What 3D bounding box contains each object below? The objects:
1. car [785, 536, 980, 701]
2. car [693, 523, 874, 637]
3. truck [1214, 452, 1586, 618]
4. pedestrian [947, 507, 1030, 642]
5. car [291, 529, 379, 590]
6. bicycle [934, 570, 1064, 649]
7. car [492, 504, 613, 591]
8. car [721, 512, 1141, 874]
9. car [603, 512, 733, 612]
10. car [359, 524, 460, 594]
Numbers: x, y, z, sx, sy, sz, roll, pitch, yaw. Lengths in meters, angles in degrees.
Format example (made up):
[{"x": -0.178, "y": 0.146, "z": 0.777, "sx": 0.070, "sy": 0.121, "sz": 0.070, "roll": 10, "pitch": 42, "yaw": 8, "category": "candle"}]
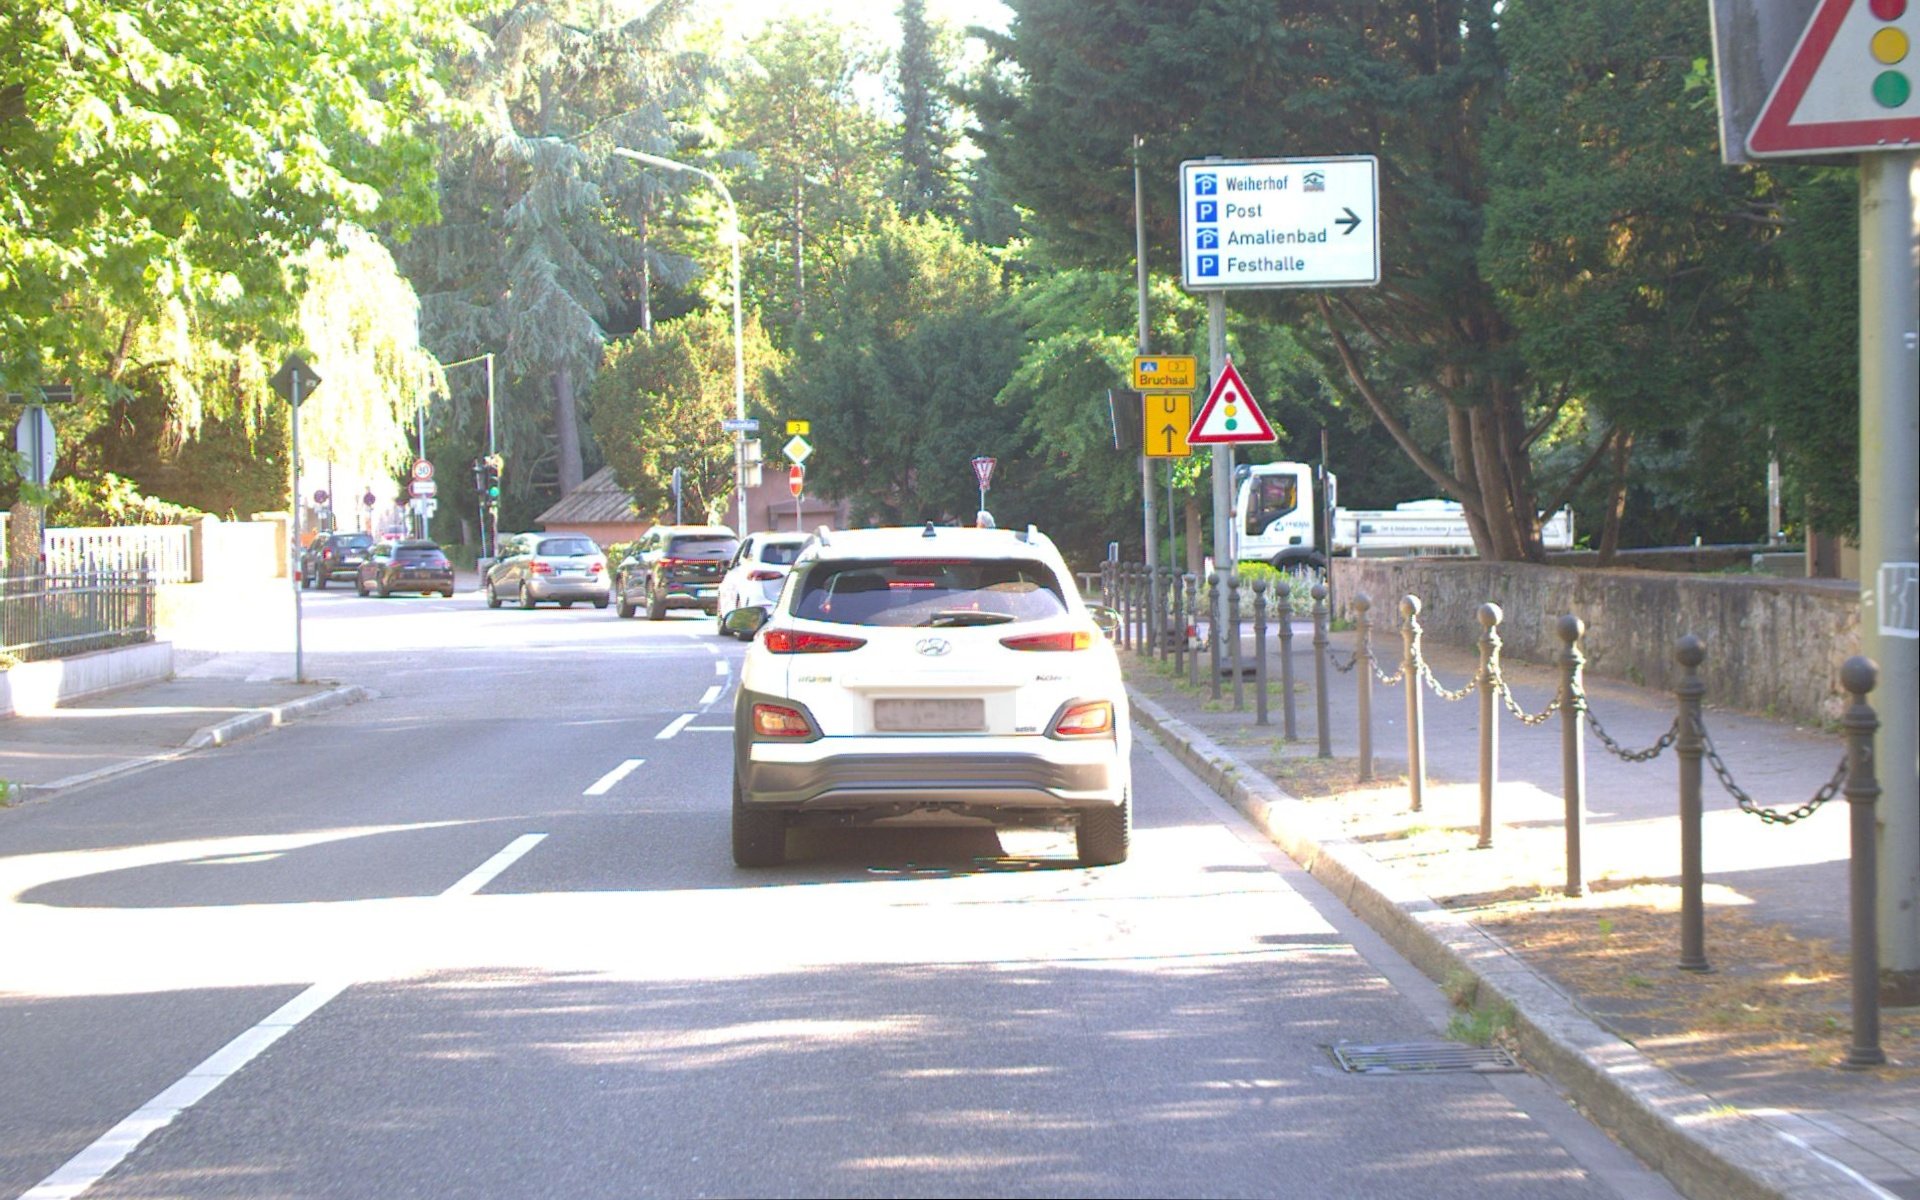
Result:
[{"x": -0.726, "y": 0.124, "z": 32.785, "sx": 1.708, "sy": 1.429, "sz": 4.365, "roll": 1, "pitch": 1, "yaw": -1, "category": "car"}, {"x": -2.549, "y": -0.313, "z": 48.839, "sx": 1.805, "sy": 1.532, "sz": 4.001, "roll": 1, "pitch": 1, "yaw": -14, "category": "car"}, {"x": 7.971, "y": -1.205, "z": 62.921, "sx": 6.588, "sy": 2.885, "sz": 2.433, "roll": 1, "pitch": 1, "yaw": 4, "category": "truck"}, {"x": 0.390, "y": -0.353, "z": 47.060, "sx": 0.940, "sy": 1.820, "sz": 0.554, "roll": 0, "pitch": 3, "yaw": -39, "category": "pedestrian"}, {"x": -17.574, "y": -1.148, "z": 96.596, "sx": 1.831, "sy": 1.656, "sz": 4.001, "roll": 1, "pitch": 1, "yaw": -19, "category": "car"}, {"x": 0.549, "y": 0.124, "z": 47.536, "sx": 1.812, "sy": 1.039, "sz": 0.561, "roll": 0, "pitch": 3, "yaw": -38, "category": "bicycle"}, {"x": -8.501, "y": -1.112, "z": 71.463, "sx": 1.831, "sy": 1.735, "sz": 4.001, "roll": 1, "pitch": 1, "yaw": -16, "category": "car"}, {"x": -0.169, "y": 0.364, "z": 17.009, "sx": 1.820, "sy": 1.568, "sz": 4.000, "roll": 0, "pitch": 1, "yaw": -1, "category": "car"}, {"x": -5.093, "y": -0.683, "z": 59.558, "sx": 1.831, "sy": 1.656, "sz": 4.001, "roll": 1, "pitch": 1, "yaw": -11, "category": "car"}, {"x": -13.668, "y": -1.025, "z": 85.210, "sx": 1.831, "sy": 1.656, "sz": 4.001, "roll": 0, "pitch": 1, "yaw": -18, "category": "car"}]
